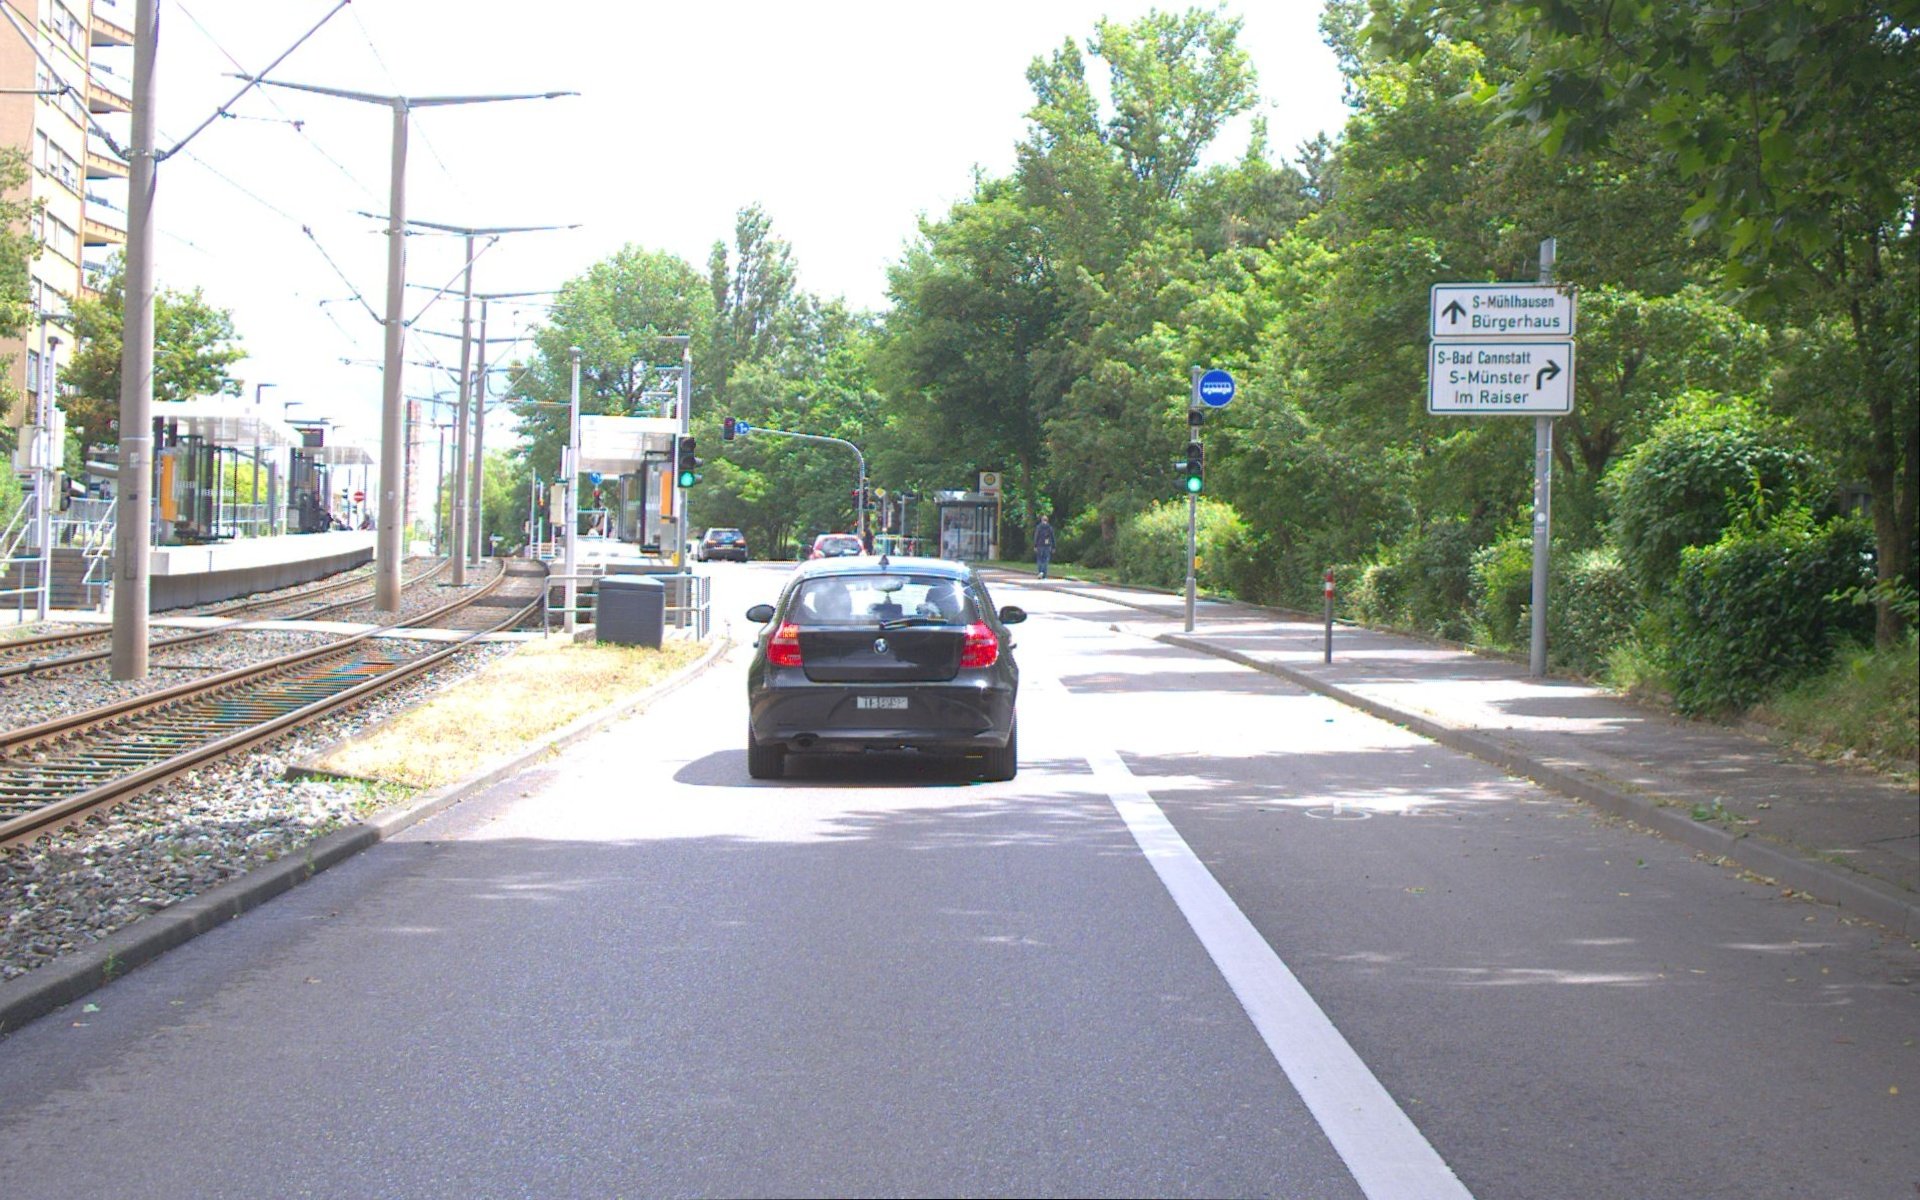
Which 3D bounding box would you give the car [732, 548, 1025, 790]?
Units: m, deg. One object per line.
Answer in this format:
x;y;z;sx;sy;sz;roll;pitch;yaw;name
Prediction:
-0.596;0.390;22.926;1.781;1.454;3.922;0;1;-3;car

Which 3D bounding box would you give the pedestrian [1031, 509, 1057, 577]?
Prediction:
2.515;-1.718;103.328;0.740;2.007;0.681;1;1;0;pedestrian

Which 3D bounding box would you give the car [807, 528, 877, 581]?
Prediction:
-3.381;-1.299;97.665;1.781;1.454;3.922;1;1;-5;car

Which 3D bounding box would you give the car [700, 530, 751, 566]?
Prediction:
-9.867;-2.208;144.375;1.909;1.454;4.003;1;1;-7;car
